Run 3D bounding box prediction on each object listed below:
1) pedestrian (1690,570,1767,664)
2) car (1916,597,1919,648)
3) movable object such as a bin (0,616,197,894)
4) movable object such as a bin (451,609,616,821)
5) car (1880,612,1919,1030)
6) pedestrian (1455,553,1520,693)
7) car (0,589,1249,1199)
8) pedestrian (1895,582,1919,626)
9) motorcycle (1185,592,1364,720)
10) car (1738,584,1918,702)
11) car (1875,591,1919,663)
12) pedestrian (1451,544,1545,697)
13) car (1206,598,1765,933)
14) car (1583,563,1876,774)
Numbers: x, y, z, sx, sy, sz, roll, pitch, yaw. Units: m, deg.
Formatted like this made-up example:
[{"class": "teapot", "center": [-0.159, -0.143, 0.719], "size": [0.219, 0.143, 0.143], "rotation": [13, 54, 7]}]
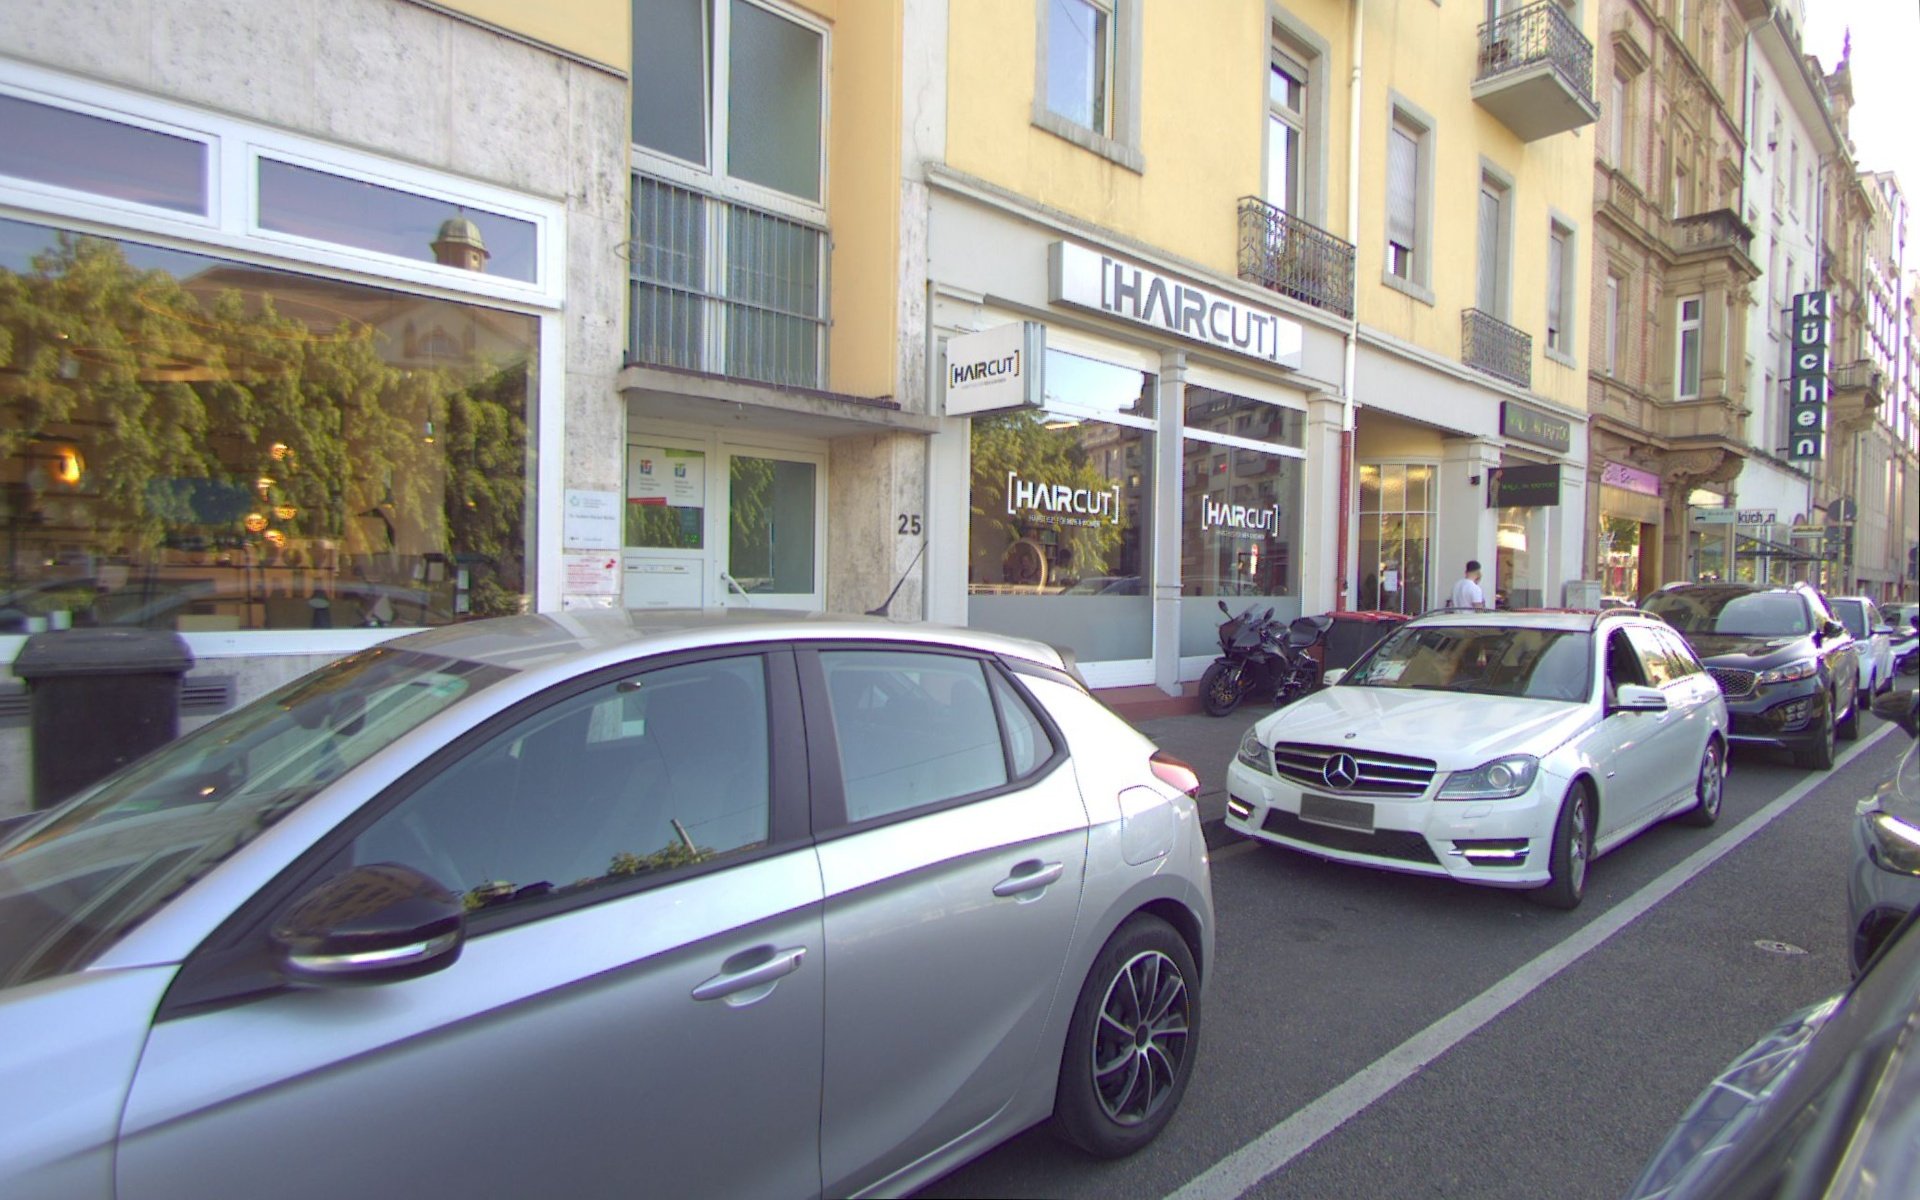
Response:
[{"class": "pedestrian", "center": [14.616, 0.312, 19.273], "size": [0.803, 1.741, 0.839], "rotation": [0, 0, -11]}, {"class": "car", "center": [26.601, 0.571, 26.919], "size": [3.306, 1.334, 1.459], "rotation": [-1, 0, -42]}, {"class": "movable object such as a bin", "center": [-3.682, 0.597, 4.314], "size": [0.639, 1.036, 0.737], "rotation": [0, 0, -41]}, {"class": "movable object such as a bin", "center": [-2.335, 0.578, 5.528], "size": [0.639, 1.036, 0.737], "rotation": [0, 0, -41]}, {"class": "car", "center": [5.389, 0.747, 4.367], "size": [4.397, 1.385, 1.767], "rotation": [-1, 1, -43]}, {"class": "pedestrian", "center": [7.231, 0.298, 13.866], "size": [0.627, 1.859, 0.760], "rotation": [0, 0, 41]}, {"class": "car", "center": [-1.014, 0.712, 2.298], "size": [3.625, 1.455, 1.585], "rotation": [-1, 0, -43]}, {"class": "pedestrian", "center": [39.540, 0.152, 42.143], "size": [0.809, 1.782, 0.825], "rotation": [0, 0, -42]}, {"class": "motorcycle", "center": [3.293, 0.520, 10.495], "size": [2.073, 1.144, 0.735], "rotation": [-1, 5, -41]}, {"class": "car", "center": [12.762, 0.544, 14.844], "size": [2.945, 1.542, 1.582], "rotation": [-1, 0, -41]}, {"class": "car", "center": [21.889, 0.563, 22.801], "size": [3.736, 1.509, 1.691], "rotation": [-1, 0, -45]}, {"class": "pedestrian", "center": [6.858, 0.250, 12.928], "size": [0.961, 1.900, 0.532], "rotation": [0, 0, 18]}, {"class": "car", "center": [3.524, 0.706, 6.379], "size": [4.301, 1.389, 1.671], "rotation": [-1, 0, -41]}, {"class": "car", "center": [8.001, 0.528, 10.358], "size": [4.338, 1.711, 1.802], "rotation": [-1, 0, -45]}]
